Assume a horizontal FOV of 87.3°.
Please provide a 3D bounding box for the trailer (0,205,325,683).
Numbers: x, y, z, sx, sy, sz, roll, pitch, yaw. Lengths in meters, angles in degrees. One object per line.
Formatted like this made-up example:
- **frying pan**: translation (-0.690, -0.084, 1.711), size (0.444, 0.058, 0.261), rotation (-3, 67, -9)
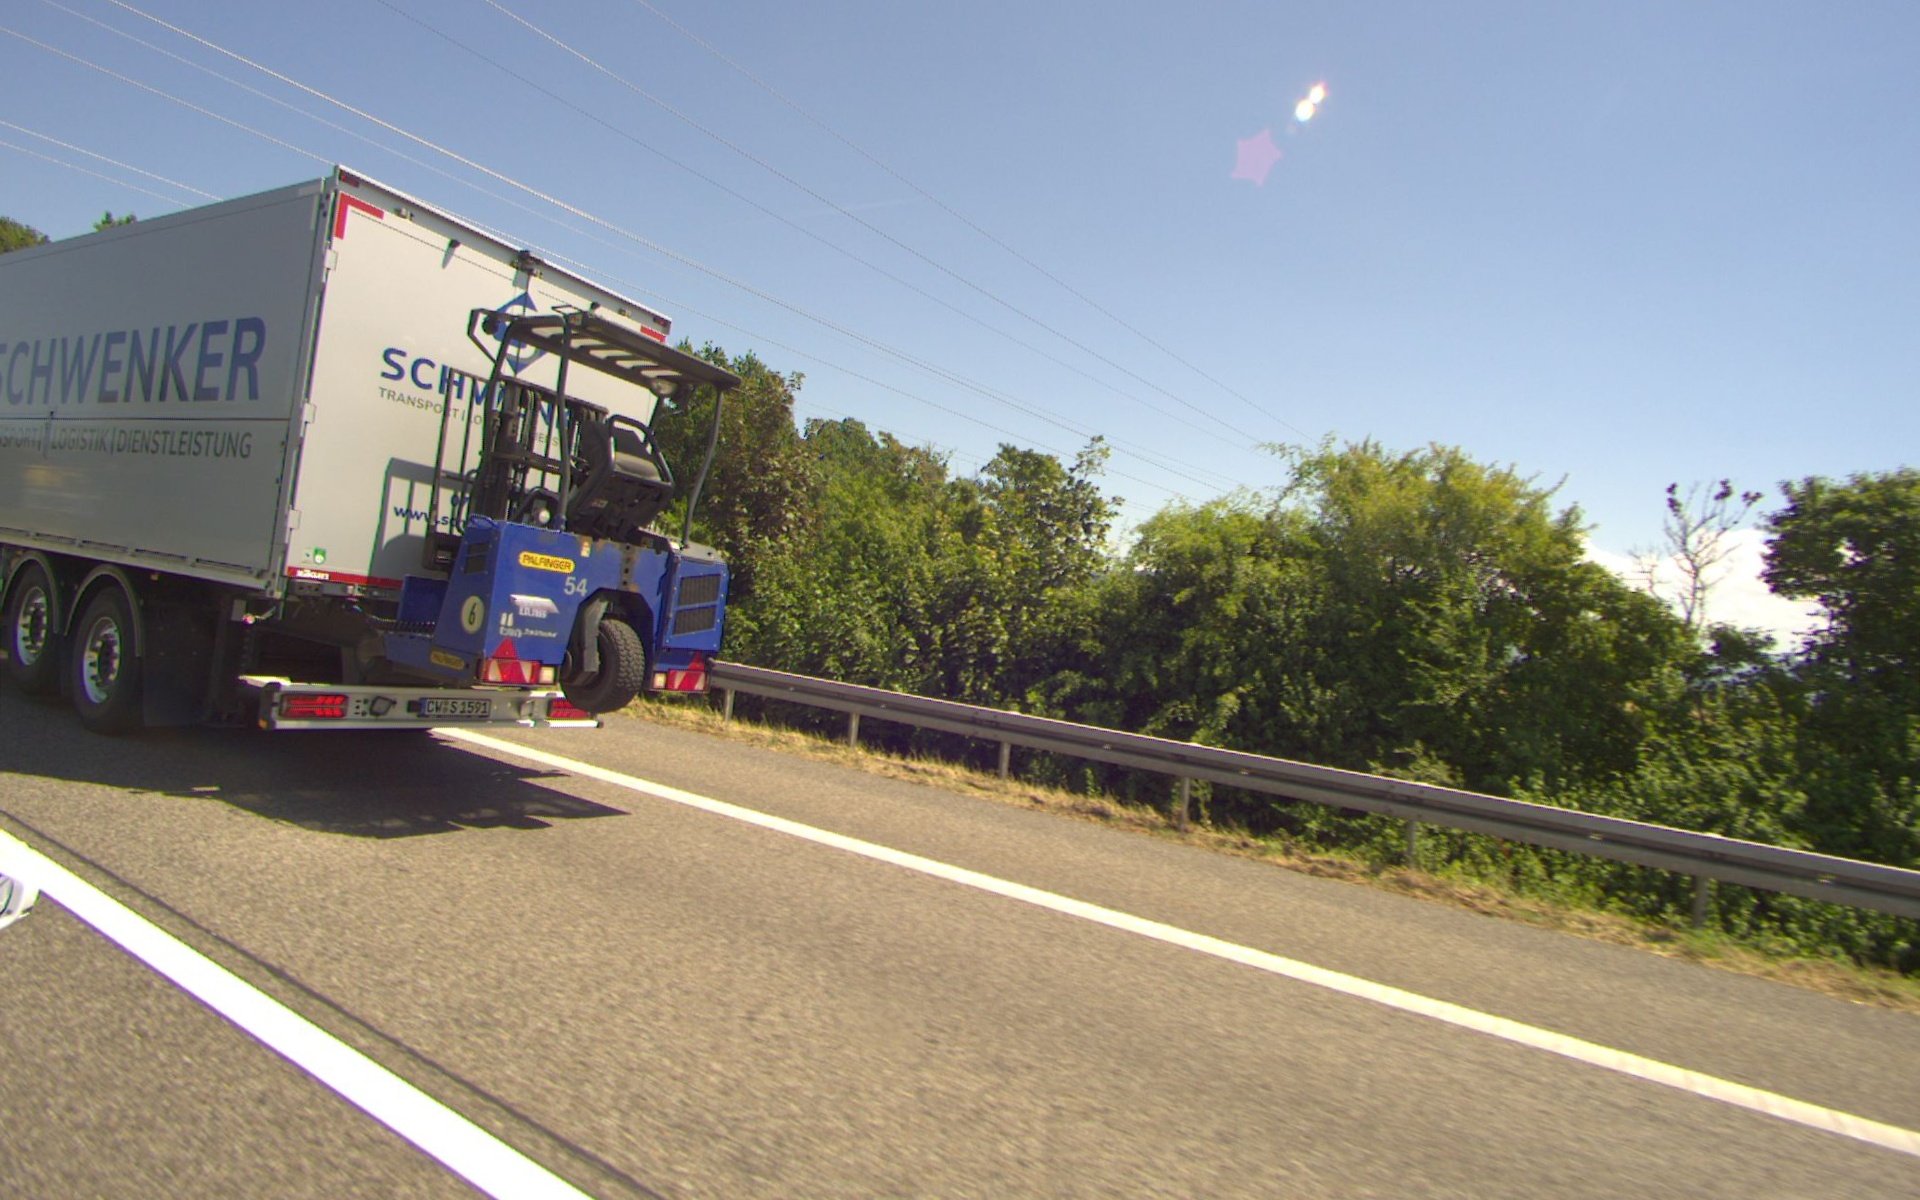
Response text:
- **trailer**: translation (-11.011, -1.597, 11.632), size (7.195, 4.088, 2.926), rotation (6, -2, 31)

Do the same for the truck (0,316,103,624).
- **truck**: translation (-16.147, -2.131, 14.963), size (6.756, 4.076, 2.895), rotation (6, -2, 32)

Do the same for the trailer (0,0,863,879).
- **trailer**: translation (-5.078, -0.970, 7.990), size (7.993, 4.109, 2.951), rotation (6, -2, 31)
